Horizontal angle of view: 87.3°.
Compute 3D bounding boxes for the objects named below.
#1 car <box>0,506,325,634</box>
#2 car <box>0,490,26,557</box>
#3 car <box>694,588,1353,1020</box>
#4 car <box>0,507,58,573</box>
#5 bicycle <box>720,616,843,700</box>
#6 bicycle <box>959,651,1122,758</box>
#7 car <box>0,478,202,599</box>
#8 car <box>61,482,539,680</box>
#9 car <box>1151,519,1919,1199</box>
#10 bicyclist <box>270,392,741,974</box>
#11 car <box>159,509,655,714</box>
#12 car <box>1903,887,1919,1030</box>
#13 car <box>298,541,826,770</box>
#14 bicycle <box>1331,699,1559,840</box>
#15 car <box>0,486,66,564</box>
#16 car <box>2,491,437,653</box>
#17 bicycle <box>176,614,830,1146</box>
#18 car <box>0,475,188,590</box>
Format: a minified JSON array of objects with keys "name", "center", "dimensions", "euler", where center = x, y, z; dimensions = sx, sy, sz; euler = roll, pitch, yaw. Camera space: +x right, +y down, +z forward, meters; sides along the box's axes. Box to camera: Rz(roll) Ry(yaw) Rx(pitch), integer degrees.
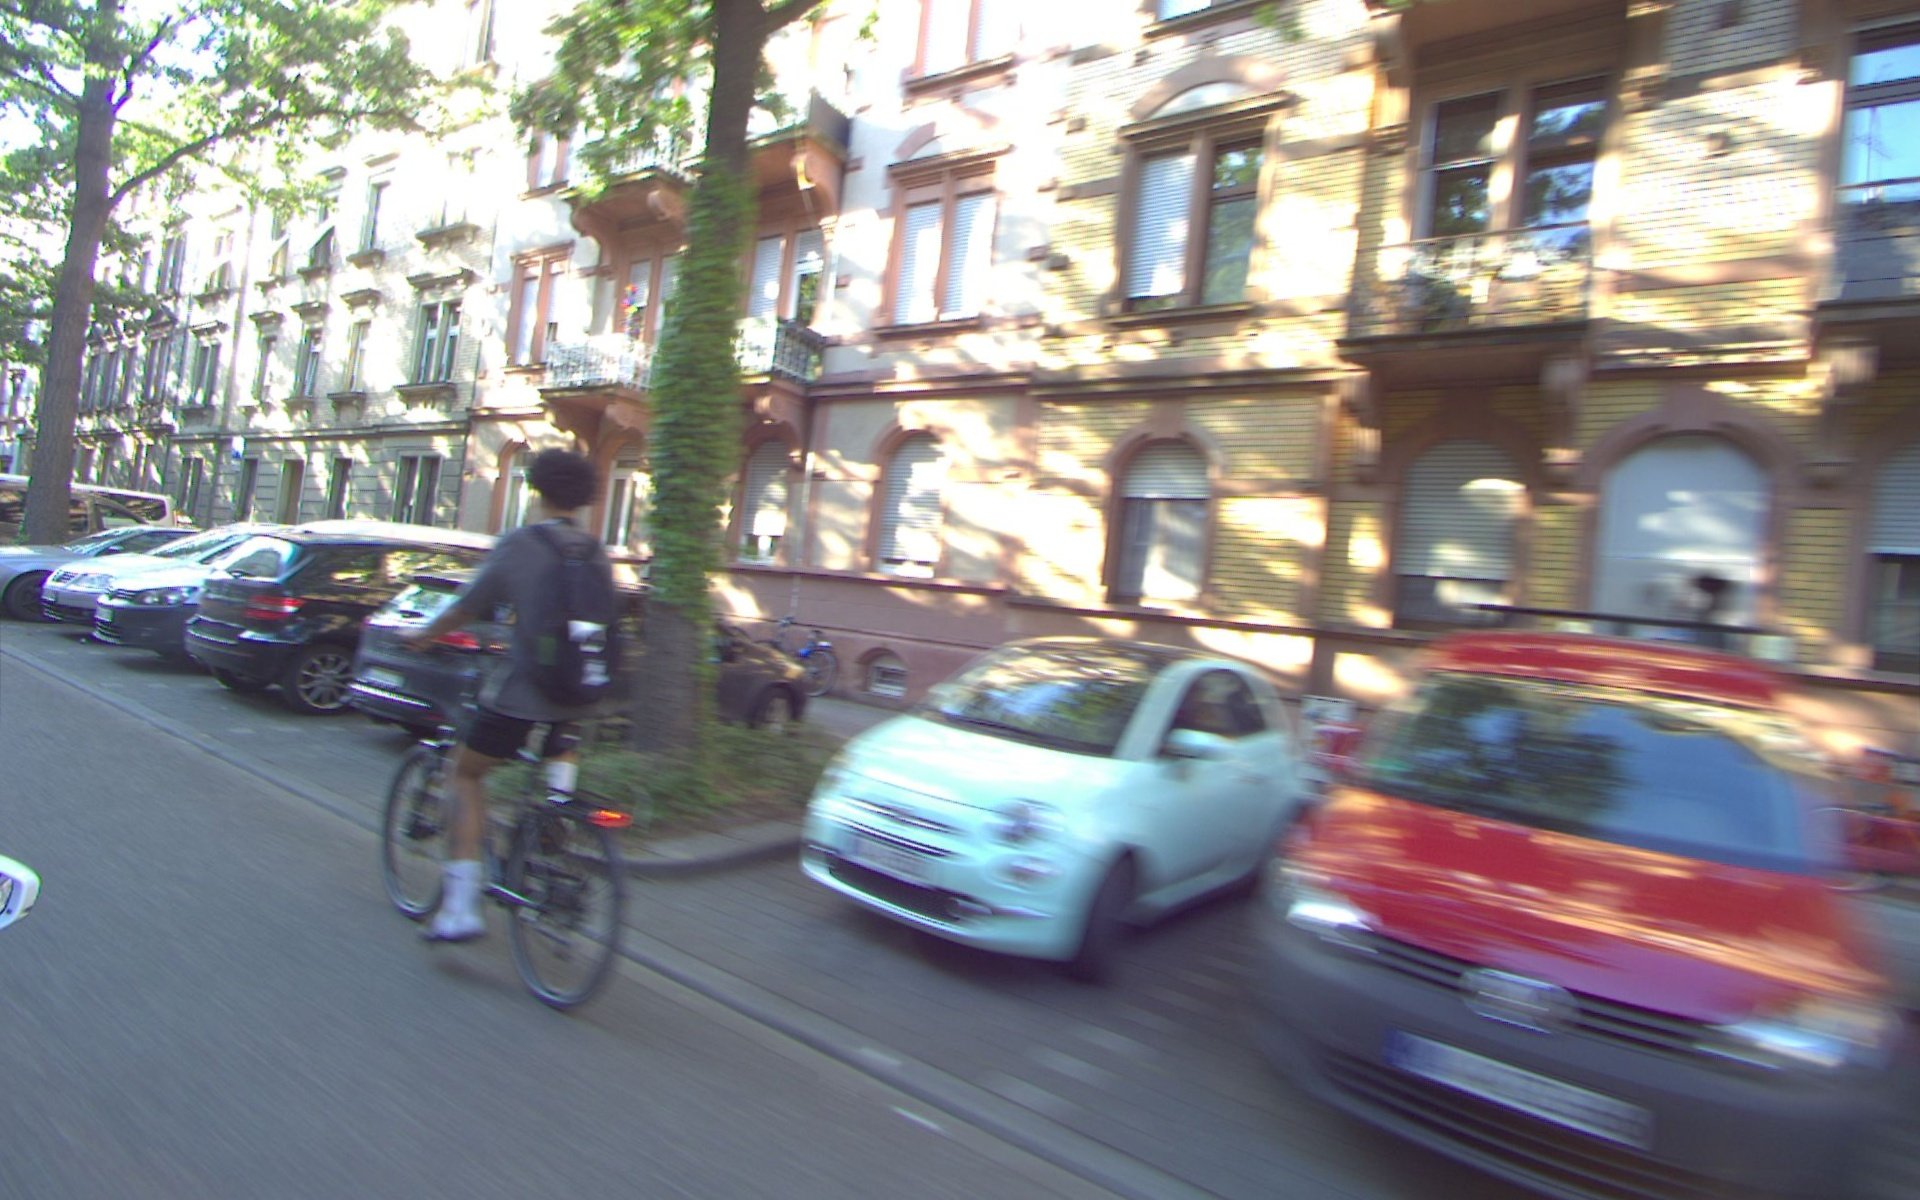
[{"name":"car","center":[-11.809,-0.408,14.352],"dimensions":[1.804,1.420,4.227],"euler":[7,-1,30]},{"name":"car","center":[-26.870,-2.220,25.828],"dimensions":[1.690,1.720,3.855],"euler":[7,0,32]},{"name":"car","center":[0.615,0.901,5.764],"dimensions":[1.823,1.473,3.653],"euler":[8,1,40]},{"name":"car","center":[-21.740,-1.469,21.087],"dimensions":[1.690,1.309,3.855],"euler":[7,-1,32]},{"name":"bicycle","center":[-2.647,0.837,14.806],"dimensions":[1.864,1.013,0.553],"euler":[6,0,36]},{"name":"bicycle","center":[0.954,1.241,12.249],"dimensions":[1.864,1.013,0.553],"euler":[6,0,36]},{"name":"car","center":[-16.200,-1.116,17.682],"dimensions":[1.800,1.817,4.236],"euler":[7,-1,16]},{"name":"car","center":[-7.472,-0.100,11.836],"dimensions":[1.806,1.798,4.224],"euler":[7,-1,34]},{"name":"car","center":[2.698,0.961,4.413],"dimensions":[1.821,1.949,4.444],"euler":[8,1,35]},{"name":"bicyclist","center":[-1.734,0.261,3.869],"dimensions":[1.189,1.810,0.996],"euler":[7,-2,37]},{"name":"car","center":[-5.376,0.209,10.291],"dimensions":[1.707,1.626,4.012],"euler":[6,-1,35]},{"name":"car","center":[4.624,1.341,3.099],"dimensions":[1.821,1.576,4.343],"euler":[8,1,36]},{"name":"car","center":[-3.239,0.508,8.960],"dimensions":[1.707,1.485,4.012],"euler":[6,-1,35]},{"name":"bicycle","center":[4.708,1.606,9.844],"dimensions":[1.864,1.013,0.553],"euler":[6,0,36]},{"name":"car","center":[-24.881,-2.046,24.794],"dimensions":[1.690,1.819,3.855],"euler":[7,0,32]},{"name":"car","center":[-9.588,-0.260,13.449],"dimensions":[1.803,1.630,4.229],"euler":[7,-1,28]},{"name":"bicycle","center":[-1.958,0.822,3.979],"dimensions":[2.879,1.171,0.996],"euler":[6,-2,37]},{"name":"car","center":[-18.930,-1.460,20.164],"dimensions":[1.806,1.949,5.059],"euler":[7,-1,35]}]
